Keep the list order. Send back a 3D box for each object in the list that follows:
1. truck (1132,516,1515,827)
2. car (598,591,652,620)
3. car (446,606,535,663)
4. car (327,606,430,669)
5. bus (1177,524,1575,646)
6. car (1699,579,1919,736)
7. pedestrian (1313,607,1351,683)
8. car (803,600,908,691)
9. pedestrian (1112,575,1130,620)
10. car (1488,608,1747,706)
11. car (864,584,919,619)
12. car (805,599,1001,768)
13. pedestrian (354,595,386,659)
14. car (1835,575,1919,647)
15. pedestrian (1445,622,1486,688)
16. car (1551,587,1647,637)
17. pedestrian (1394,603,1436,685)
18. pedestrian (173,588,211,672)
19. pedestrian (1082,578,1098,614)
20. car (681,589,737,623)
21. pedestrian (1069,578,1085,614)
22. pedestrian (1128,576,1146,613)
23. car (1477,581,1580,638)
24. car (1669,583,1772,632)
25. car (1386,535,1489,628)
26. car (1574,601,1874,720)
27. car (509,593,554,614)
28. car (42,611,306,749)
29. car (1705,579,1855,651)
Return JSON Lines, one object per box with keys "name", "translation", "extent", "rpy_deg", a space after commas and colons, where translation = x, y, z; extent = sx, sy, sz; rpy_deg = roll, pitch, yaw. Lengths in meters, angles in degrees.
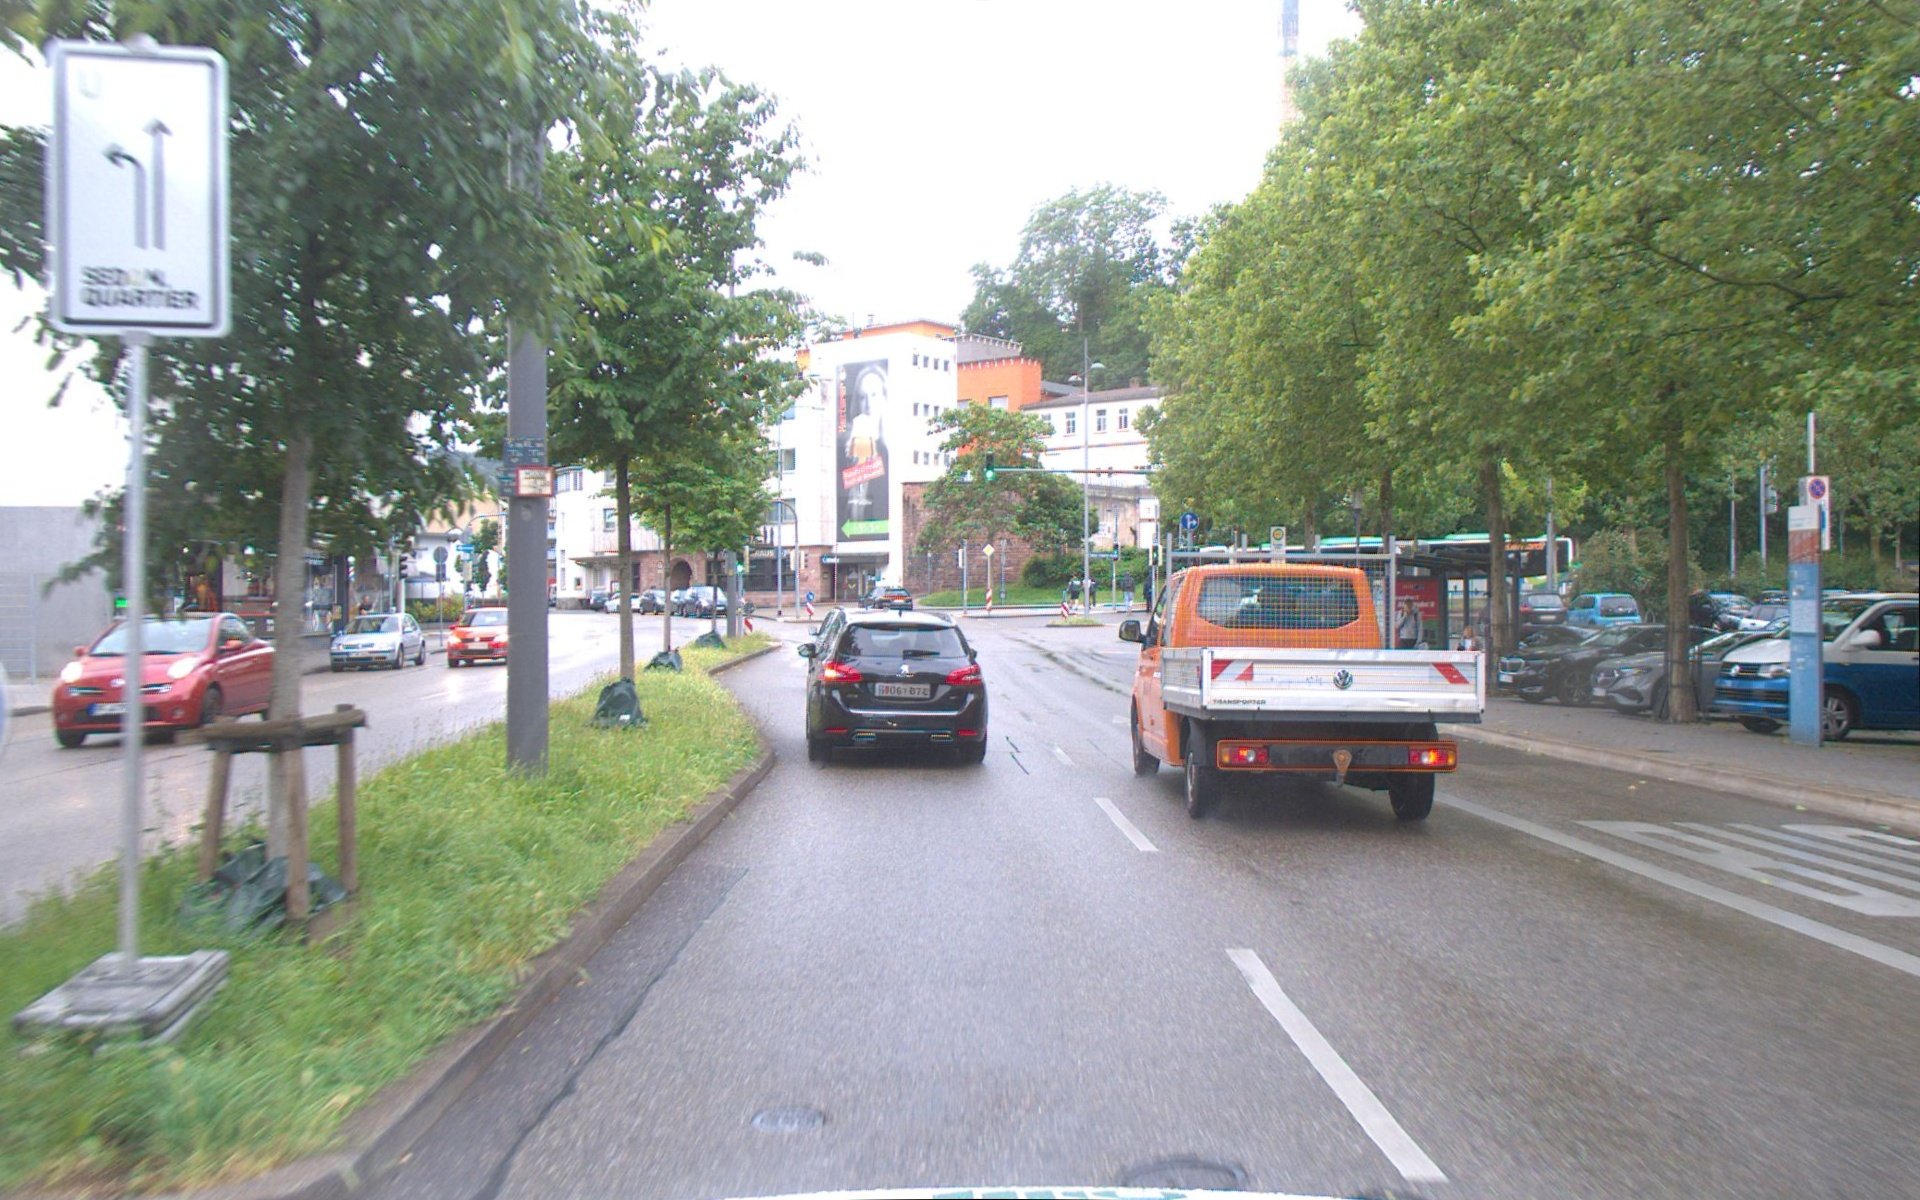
{"name": "truck", "translation": [2.690, 0.486, 13.473], "extent": [2.078, 2.061, 4.715], "rpy_deg": [1, 0, 0]}
{"name": "car", "translation": [-22.824, 0.366, 112.632], "extent": [1.980, 1.982, 3.944], "rpy_deg": [1, -1, -39]}
{"name": "car", "translation": [-12.328, 0.878, 43.591], "extent": [1.658, 1.426, 3.656], "rpy_deg": [0, 0, -6]}
{"name": "car", "translation": [-15.119, 0.949, 43.169], "extent": [1.743, 1.552, 3.656], "rpy_deg": [0, 0, -6]}
{"name": "bus", "translation": [18.971, -0.642, 75.905], "extent": [17.560, 5.303, 3.097], "rpy_deg": [1, -1, -3]}
{"name": "car", "translation": [12.297, 0.762, 22.147], "extent": [3.907, 1.958, 1.969], "rpy_deg": [1, 0, -3]}
{"name": "pedestrian", "translation": [8.620, 1.038, 38.315], "extent": [0.710, 1.730, 0.622], "rpy_deg": [1, -1, -4]}
{"name": "car", "translation": [-1.848, 0.763, 29.872], "extent": [1.759, 1.509, 3.998], "rpy_deg": [-1, 0, -3]}
{"name": "pedestrian", "translation": [7.393, -0.136, 76.013], "extent": [0.704, 2.027, 0.562], "rpy_deg": [-1, 1, -7]}
{"name": "car", "translation": [11.699, 0.989, 29.581], "extent": [3.907, 1.535, 1.742], "rpy_deg": [2, 0, -3]}
{"name": "car", "translation": [-3.470, 0.080, 83.079], "extent": [1.622, 1.592, 3.575], "rpy_deg": [3, -3, -22]}
{"name": "car", "translation": [-0.611, 0.790, 17.168], "extent": [1.759, 1.509, 3.997], "rpy_deg": [1, -1, -3]}
{"name": "pedestrian", "translation": [-19.076, 0.872, 53.481], "extent": [0.721, 2.049, 0.648], "rpy_deg": [4, -3, -39]}
{"name": "car", "translation": [25.584, 0.335, 44.398], "extent": [1.867, 1.767, 3.718], "rpy_deg": [3, -3, -8]}
{"name": "pedestrian", "translation": [10.766, 1.157, 35.224], "extent": [0.608, 1.381, 0.726], "rpy_deg": [1, -1, -4]}
{"name": "car", "translation": [21.738, 0.412, 56.425], "extent": [1.648, 1.646, 3.646], "rpy_deg": [1, 0, -5]}
{"name": "pedestrian", "translation": [9.743, 0.943, 35.431], "extent": [0.710, 1.730, 0.622], "rpy_deg": [1, -1, -4]}
{"name": "pedestrian", "translation": [-17.427, 0.671, 37.551], "extent": [0.627, 1.893, 0.523], "rpy_deg": [1, 0, -7]}
{"name": "pedestrian", "translation": [6.224, -0.198, 79.287], "extent": [0.627, 1.693, 0.562], "rpy_deg": [-1, 1, -7]}
{"name": "car", "translation": [-12.978, 0.320, 85.311], "extent": [1.627, 1.592, 3.563], "rpy_deg": [4, -3, -30]}
{"name": "pedestrian", "translation": [5.615, -0.213, 79.191], "extent": [0.627, 1.693, 0.562], "rpy_deg": [-1, 1, -7]}
{"name": "pedestrian", "translation": [8.144, -0.249, 76.031], "extent": [0.704, 1.693, 0.562], "rpy_deg": [-1, 1, -7]}
{"name": "car", "translation": [19.278, 0.314, 56.287], "extent": [1.794, 1.858, 4.223], "rpy_deg": [1, 0, -5]}
{"name": "car", "translation": [25.558, 0.242, 55.698], "extent": [1.599, 1.595, 3.604], "rpy_deg": [0, 0, -5]}
{"name": "car", "translation": [16.309, -0.594, 56.715], "extent": [2.032, 3.023, 4.223], "rpy_deg": [1, 0, -5]}
{"name": "car", "translation": [12.221, 0.942, 26.633], "extent": [3.907, 1.678, 1.916], "rpy_deg": [2, 0, -3]}
{"name": "car", "translation": [-31.979, 0.279, 123.450], "extent": [3.537, 1.537, 1.590], "rpy_deg": [0, -1, 43]}
{"name": "car", "translation": [-9.271, 0.875, 19.847], "extent": [1.633, 1.424, 3.871], "rpy_deg": [-1, 0, -6]}
{"name": "car", "translation": [22.235, 0.443, 45.002], "extent": [1.867, 1.767, 3.718], "rpy_deg": [3, -3, -8]}
